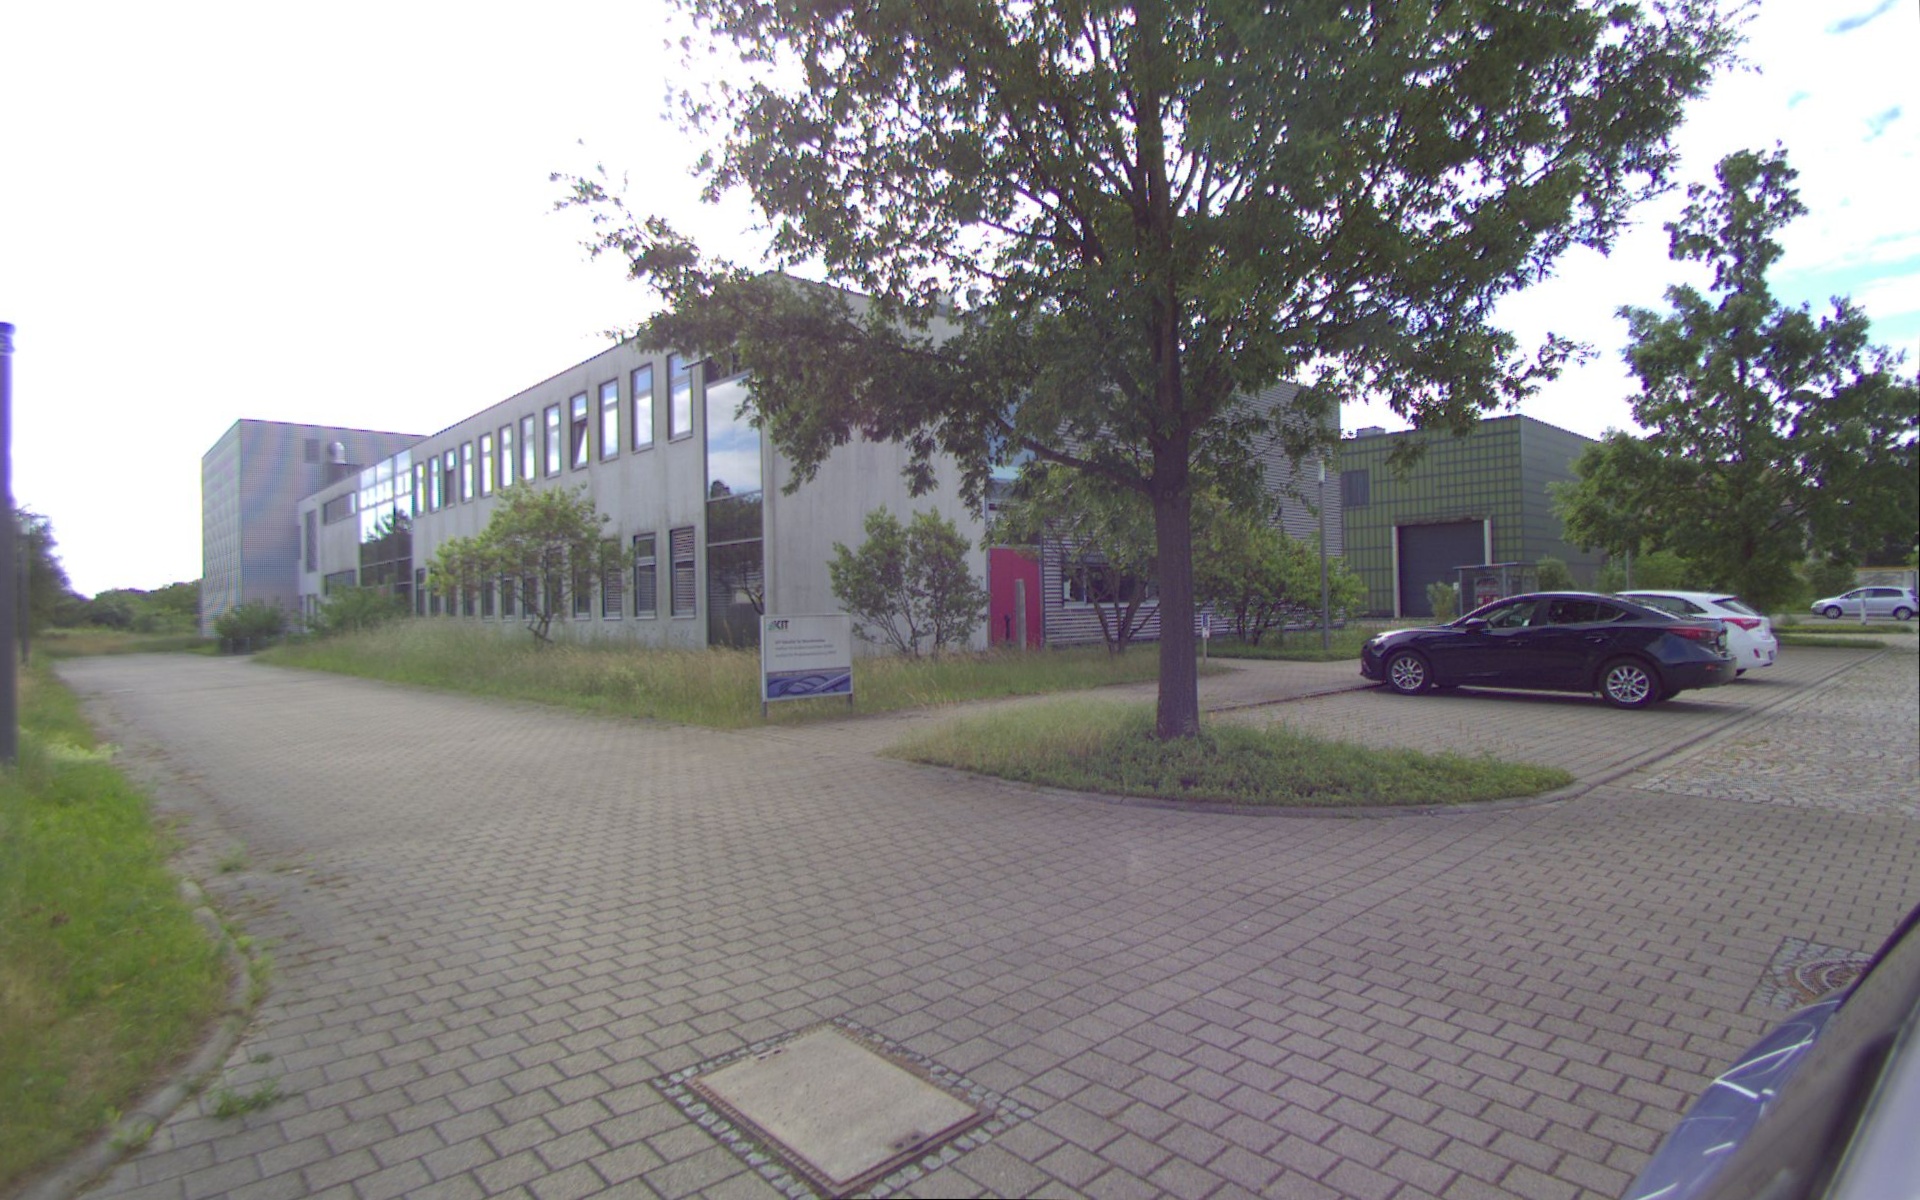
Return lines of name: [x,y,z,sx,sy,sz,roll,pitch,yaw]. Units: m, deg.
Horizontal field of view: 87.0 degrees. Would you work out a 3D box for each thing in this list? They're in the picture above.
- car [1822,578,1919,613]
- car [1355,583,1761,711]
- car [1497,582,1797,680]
car: [44.454,-0.242,48.931,4.122,1.645,1.908,1,2,45]
car: [8.011,0.520,13.884,1.912,1.465,4.468,-1,1,-43]
car: [11.719,0.471,17.452,1.851,1.485,3.979,-1,0,-43]
